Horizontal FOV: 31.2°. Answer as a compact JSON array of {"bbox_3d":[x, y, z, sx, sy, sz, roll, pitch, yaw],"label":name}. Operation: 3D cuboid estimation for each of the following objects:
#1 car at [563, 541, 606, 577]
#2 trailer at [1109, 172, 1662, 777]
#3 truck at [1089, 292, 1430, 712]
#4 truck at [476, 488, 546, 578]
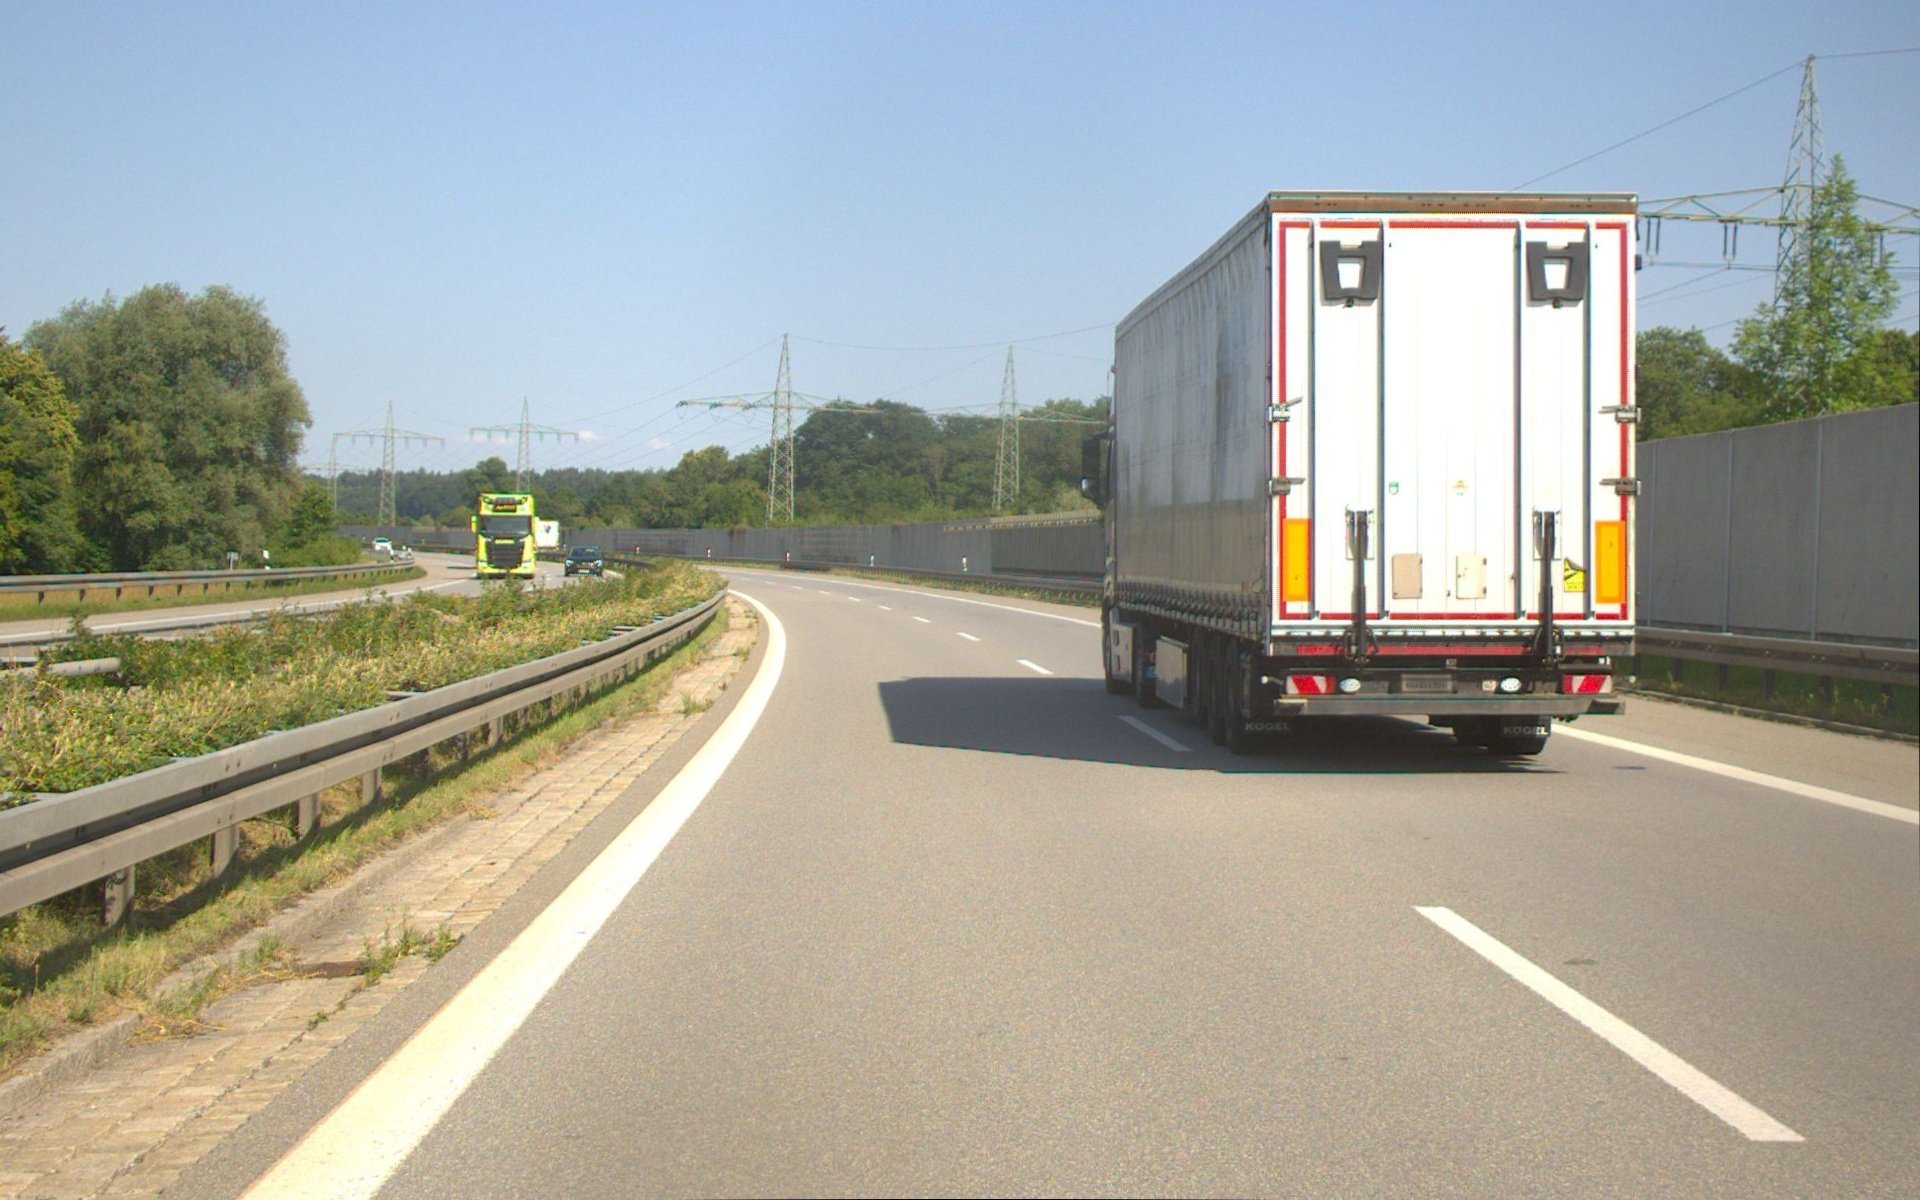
[{"bbox_3d":[-18.274,-1.999,167.165,1.993,1.665,4.001,-1,1,-7],"label":"car"},{"bbox_3d":[3.155,-0.938,29.468,2.884,4.052,12.421,-1,1,-1],"label":"trailer"},{"bbox_3d":[3.002,-0.986,36.289,2.830,3.998,6.587,-1,1,-1],"label":"truck"},{"bbox_3d":[-20.254,-2.985,155.451,2.758,3.894,8.772,-1,1,-5],"label":"truck"}]
